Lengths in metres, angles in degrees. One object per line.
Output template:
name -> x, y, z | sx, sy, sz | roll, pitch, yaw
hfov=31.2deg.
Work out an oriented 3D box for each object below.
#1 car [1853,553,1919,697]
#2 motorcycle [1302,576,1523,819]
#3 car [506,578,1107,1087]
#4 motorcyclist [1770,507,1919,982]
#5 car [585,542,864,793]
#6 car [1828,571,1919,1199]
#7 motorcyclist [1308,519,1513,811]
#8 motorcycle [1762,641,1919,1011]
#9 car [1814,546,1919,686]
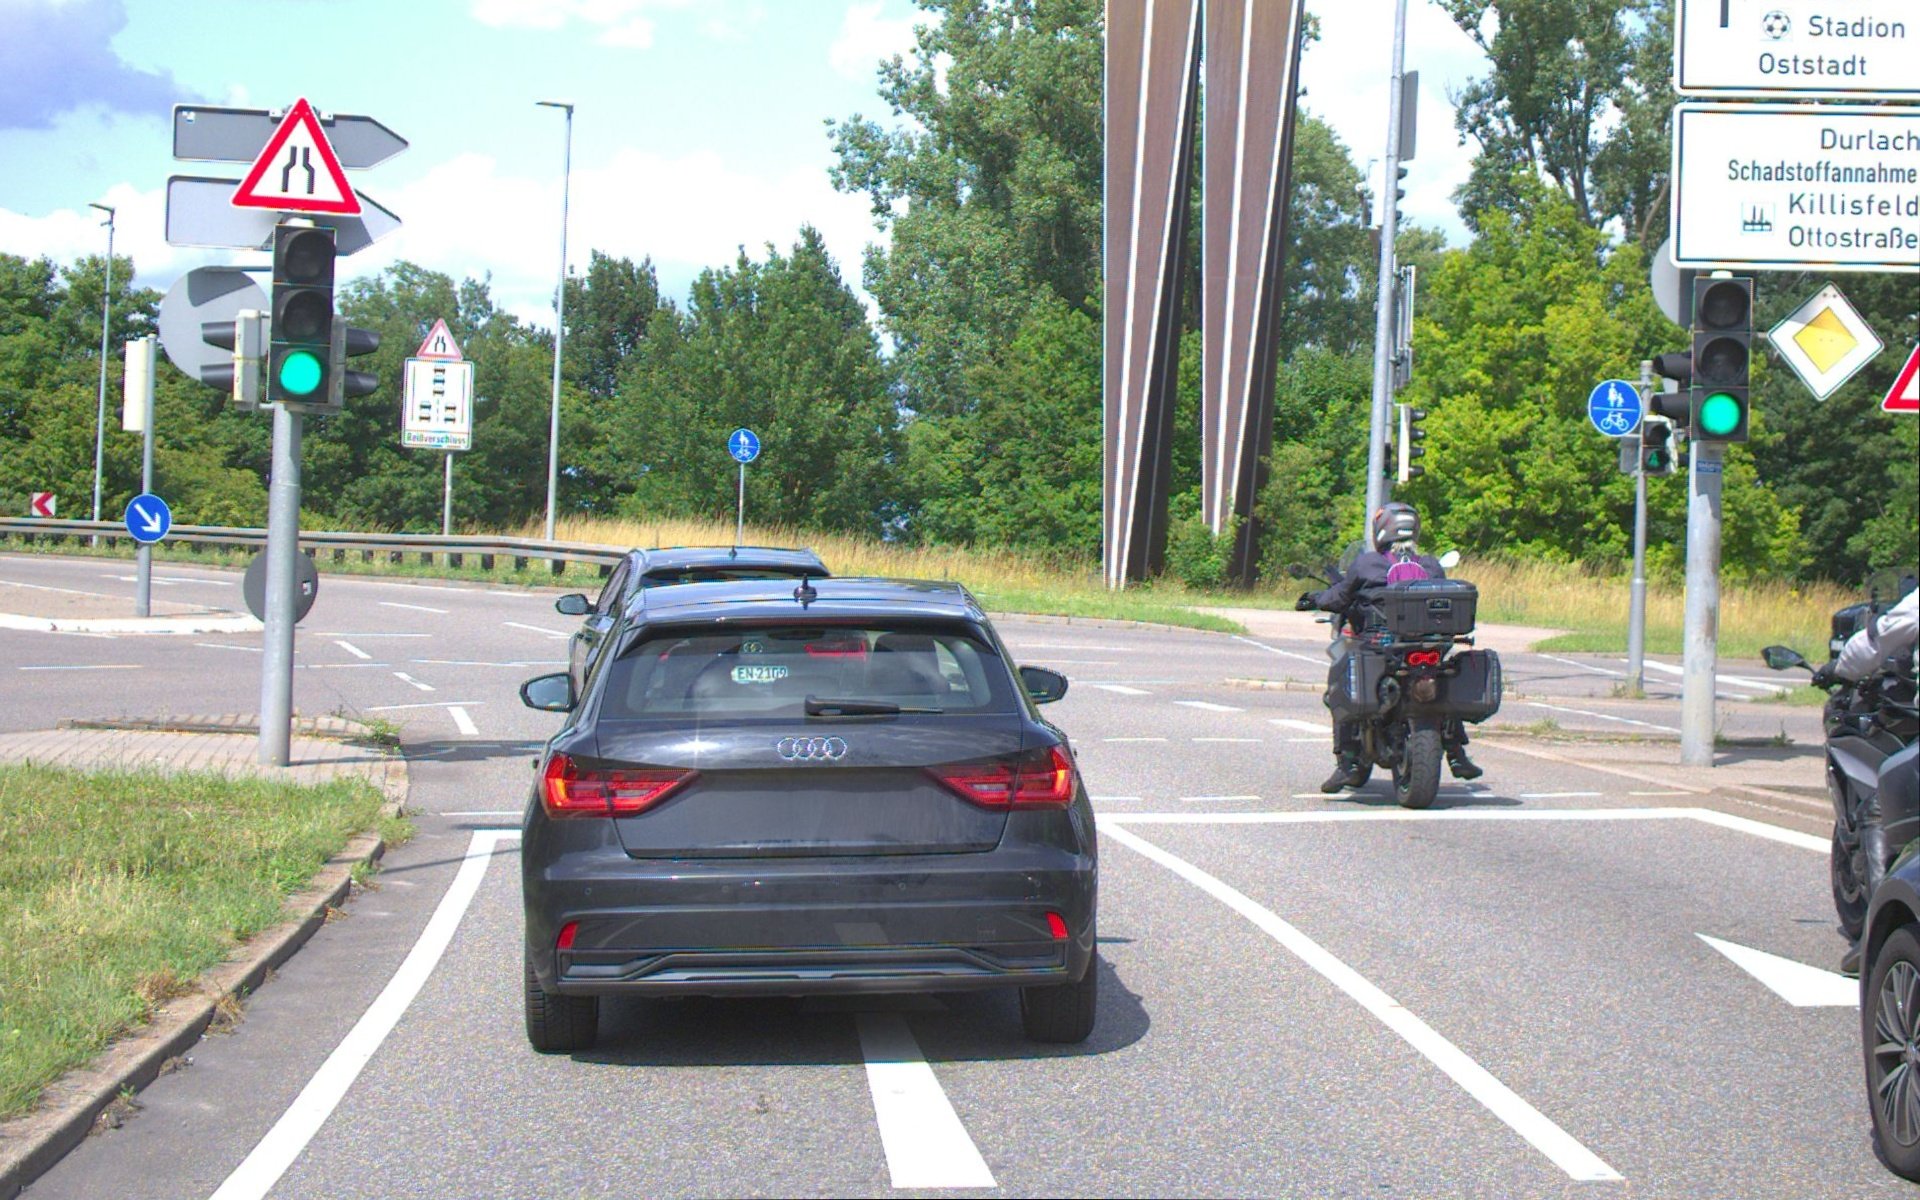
car -> 12.703, 0.380, 39.539 | 4.280, 1.611, 1.845 | 3, 0, -3
motorcycle -> 2.545, 0.516, 19.630 | 0.887, 1.243, 2.399 | 2, 1, -1
car -> -0.450, 0.640, 11.512 | 1.682, 1.383, 3.739 | 0, 1, -1
motorcyclist -> 3.544, 0.495, 12.298 | 0.966, 1.614, 1.125 | 2, 1, -1
car -> -1.485, 0.373, 22.545 | 1.642, 1.474, 3.873 | 1, 1, -2
car -> 3.108, 0.714, 6.802 | 1.642, 1.474, 3.873 | 1, 1, -2
motorcyclist -> 2.550, 0.353, 19.603 | 0.966, 1.590, 1.125 | 2, 1, -1
motorcycle -> 3.514, 0.758, 12.048 | 0.789, 1.128, 2.399 | 2, 1, -1
car -> 13.098, 0.268, 43.082 | 4.201, 1.640, 1.838 | 3, 2, -3
